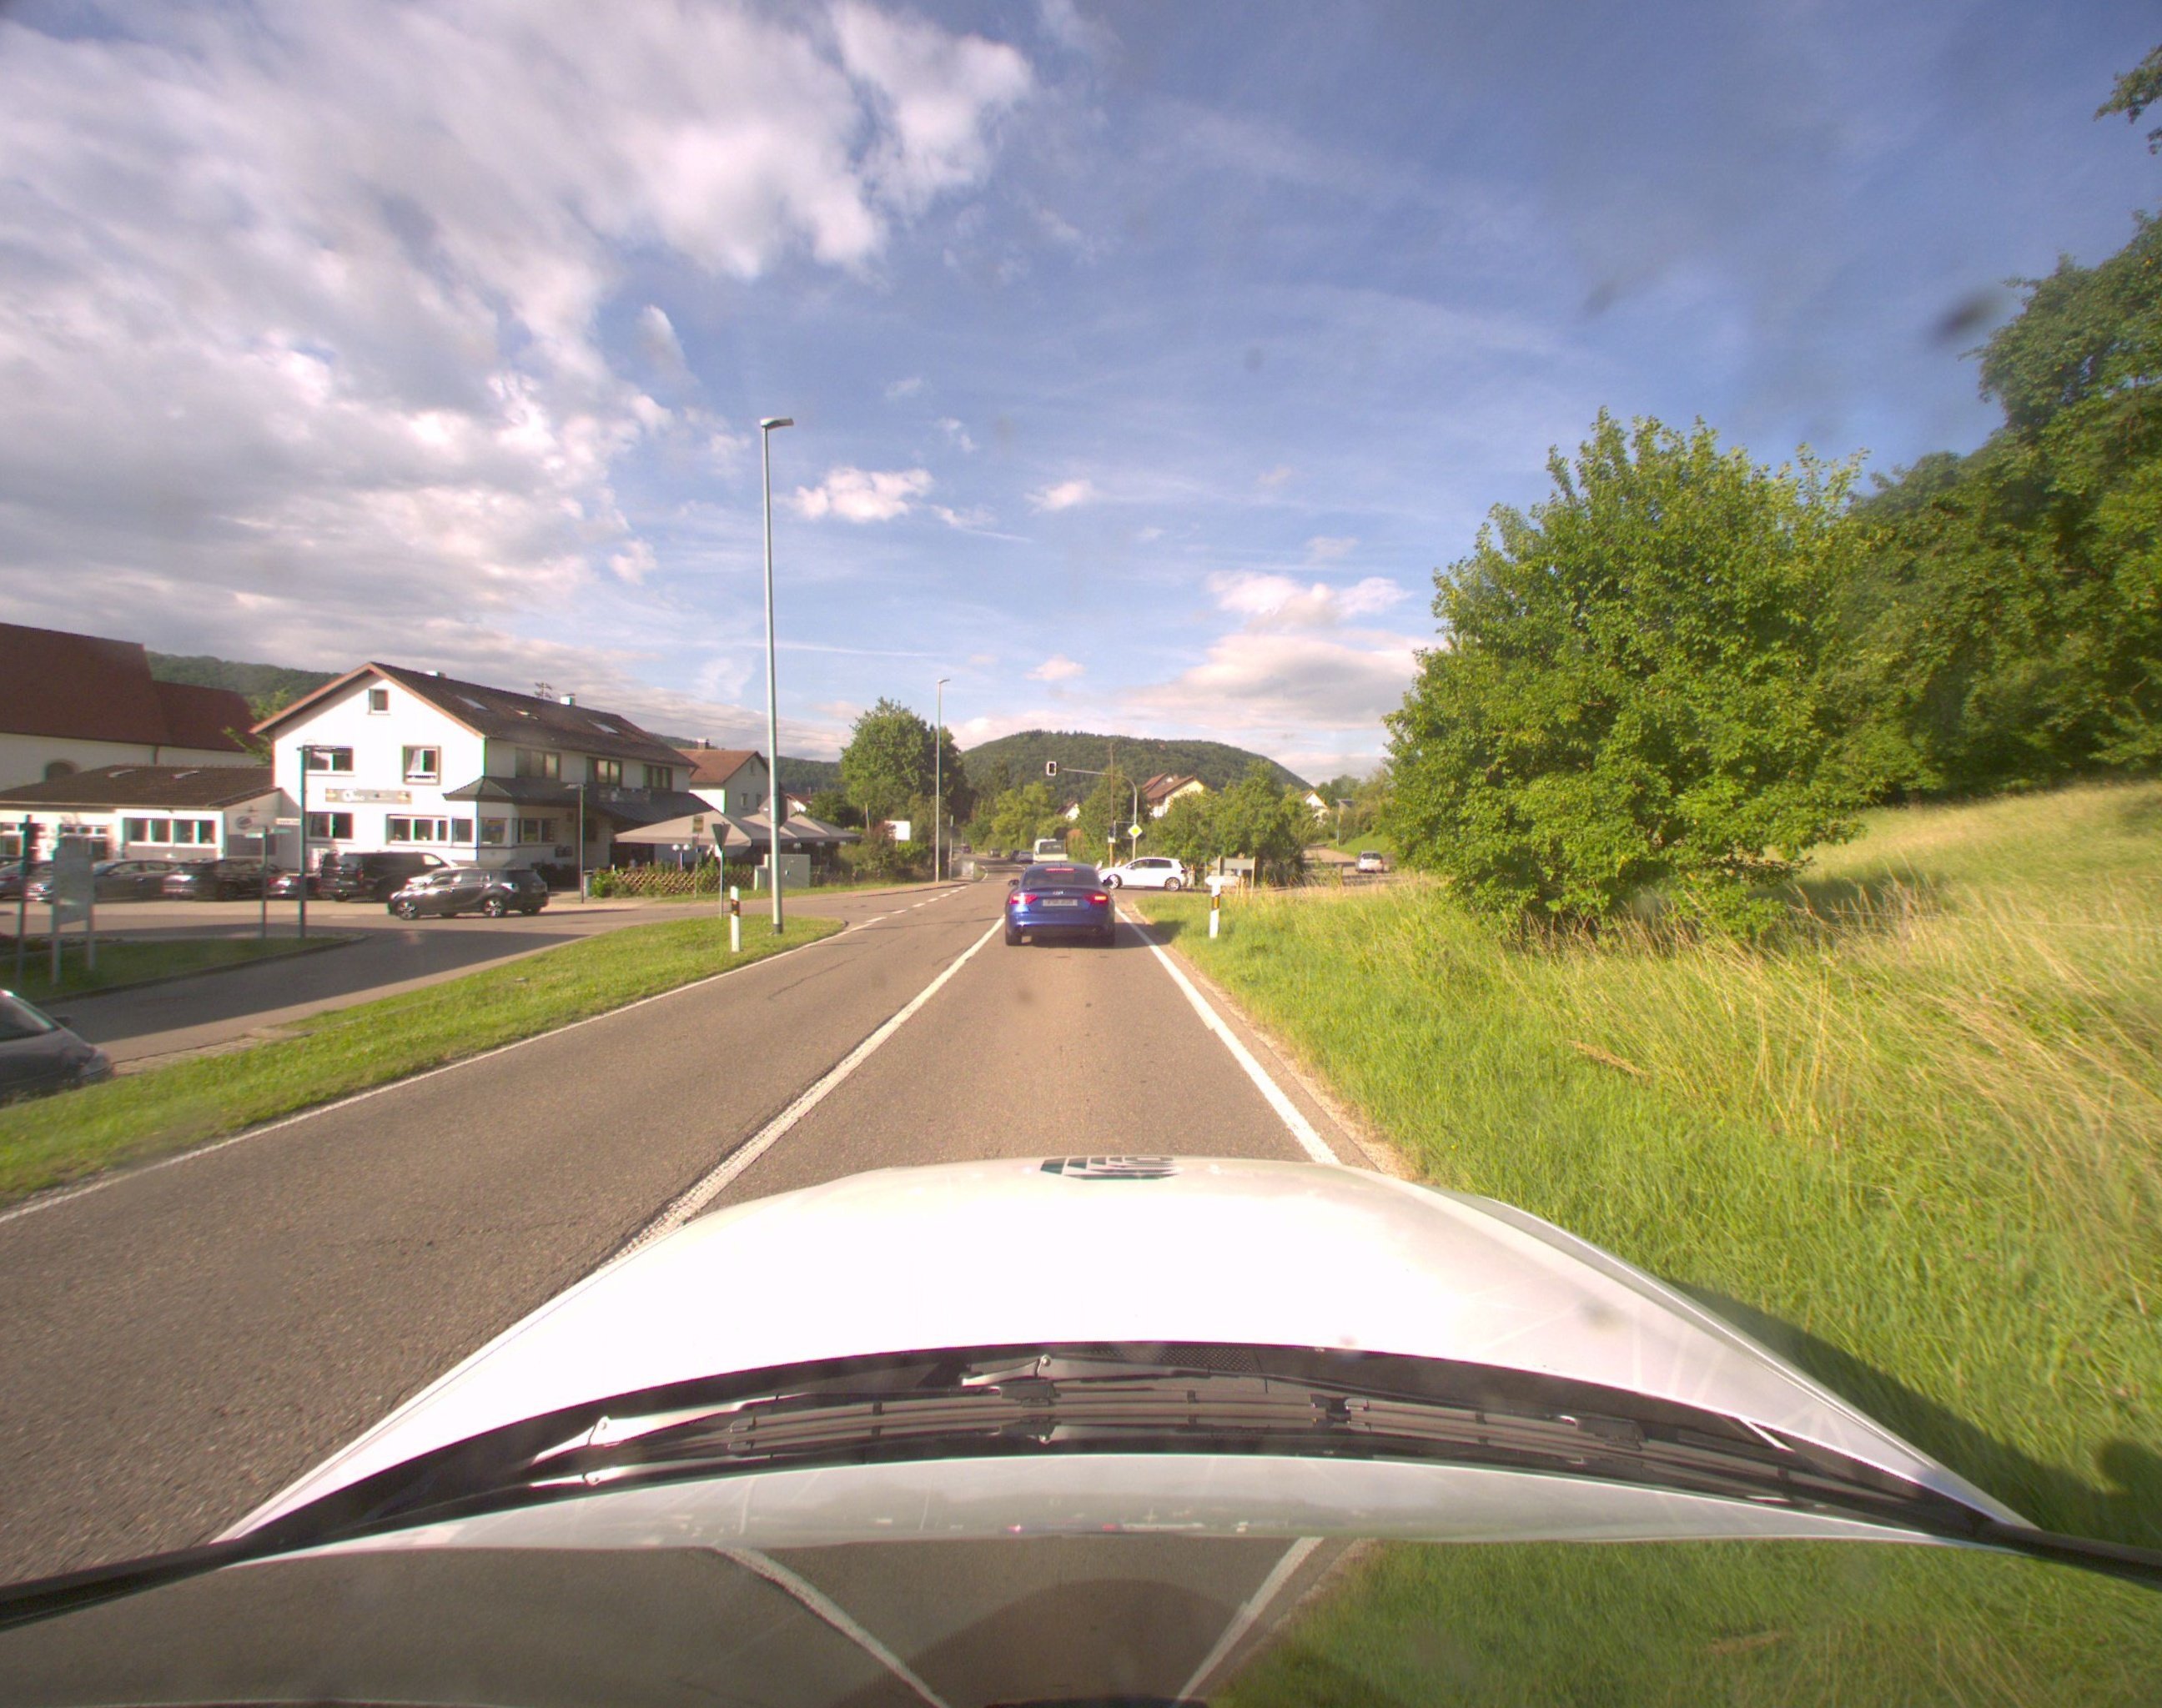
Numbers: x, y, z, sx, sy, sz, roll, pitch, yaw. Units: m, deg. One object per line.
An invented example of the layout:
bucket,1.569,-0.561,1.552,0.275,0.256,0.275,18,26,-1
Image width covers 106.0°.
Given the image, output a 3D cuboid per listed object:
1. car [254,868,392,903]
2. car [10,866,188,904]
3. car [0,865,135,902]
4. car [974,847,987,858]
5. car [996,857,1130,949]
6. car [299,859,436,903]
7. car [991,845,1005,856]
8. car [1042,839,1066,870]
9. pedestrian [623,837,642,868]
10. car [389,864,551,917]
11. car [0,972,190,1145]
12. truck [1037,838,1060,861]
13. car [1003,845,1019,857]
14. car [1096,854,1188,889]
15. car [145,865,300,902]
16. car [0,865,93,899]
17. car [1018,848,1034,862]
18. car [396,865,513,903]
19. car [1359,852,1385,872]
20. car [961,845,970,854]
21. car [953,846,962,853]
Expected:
car,-31.238,1.261,33.749,1.834,1.354,4.002,-1,-1,2
car,-37.380,1.144,31.185,1.833,1.354,4.004,-1,-1,4
car,-40.479,1.125,31.969,1.833,1.354,4.004,-1,-1,4
car,-14.685,-0.245,119.046,1.694,1.490,3.522,0,-1,-4
car,-0.167,0.782,14.599,1.785,1.388,4.008,-1,-1,7
car,-28.724,1.066,32.967,1.879,1.662,4.003,-1,-1,3
car,-12.805,-0.519,126.115,1.818,1.574,3.996,0,-1,-2
car,-1.979,0.036,60.478,1.741,2.195,3.998,0,-1,-1
pedestrian,-22.512,-0.074,40.916,0.606,1.503,0.590,-1,-1,3
car,-19.672,1.163,26.340,3.969,1.639,1.753,-1,-1,3
car,-11.440,1.947,7.995,3.962,1.310,1.766,-1,-1,10
truck,-2.982,-0.386,73.787,1.695,1.953,5.909,0,-1,-6
car,-8.919,-0.345,103.423,1.697,1.490,3.515,0,-1,-10
car,2.783,0.792,36.639,4.023,1.508,1.858,-1,-1,6
car,-34.135,1.130,32.553,1.834,1.354,4.002,-1,-1,2
car,-43.513,1.118,33.023,1.833,1.354,4.004,-1,-1,4
car,-6.243,0.129,91.865,1.695,1.490,3.519,0,-1,-6
car,-25.548,1.202,33.410,1.549,1.450,4.003,-1,-1,3
car,20.891,0.567,58.630,1.610,1.390,4.018,-1,-1,17
car,-22.528,-0.916,158.315,1.624,1.576,3.670,0,-1,-7
car,-25.603,-0.913,168.869,1.685,1.438,3.665,0,-1,-4
